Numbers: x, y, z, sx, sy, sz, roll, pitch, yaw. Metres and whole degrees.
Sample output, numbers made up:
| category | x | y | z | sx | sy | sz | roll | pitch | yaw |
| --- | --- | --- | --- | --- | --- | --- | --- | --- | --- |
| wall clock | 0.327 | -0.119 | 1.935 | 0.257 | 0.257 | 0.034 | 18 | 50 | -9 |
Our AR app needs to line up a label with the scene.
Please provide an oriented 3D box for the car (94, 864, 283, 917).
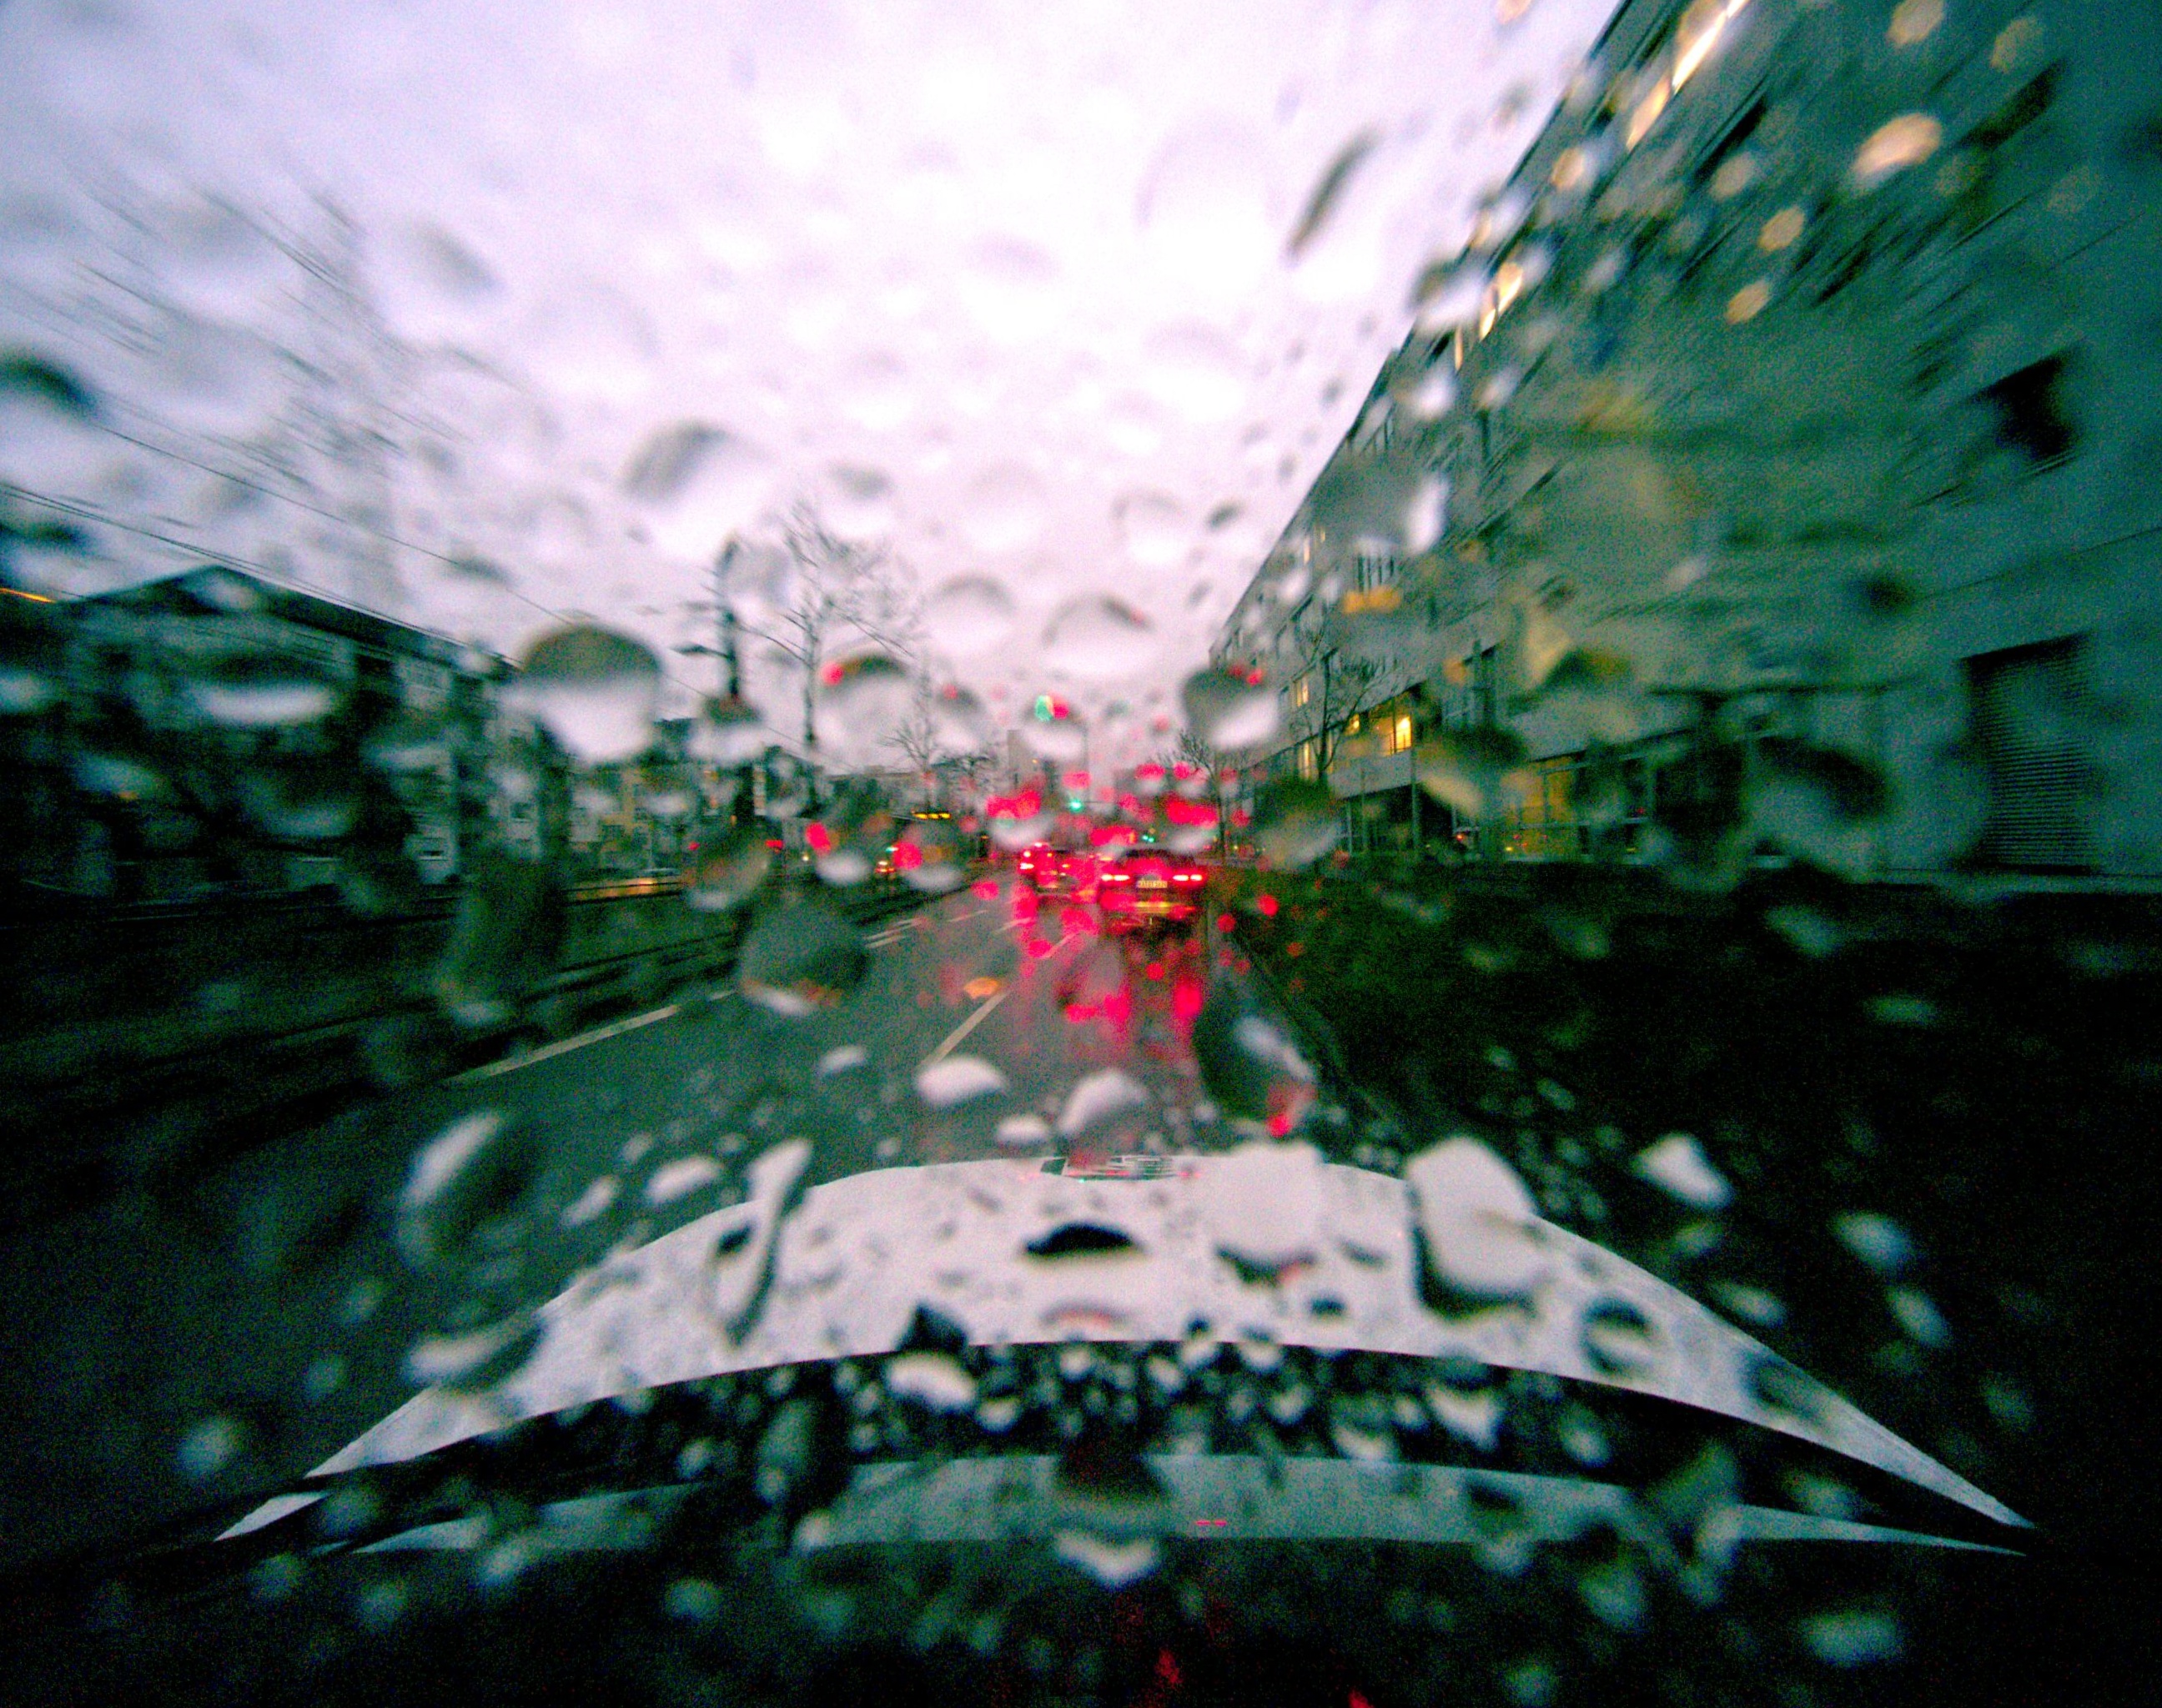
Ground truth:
| category | x | y | z | sx | sy | sz | roll | pitch | yaw |
| --- | --- | --- | --- | --- | --- | --- | --- | --- | --- |
| car | -29.994 | 1.158 | 27.587 | 1.718 | 1.645 | 4.152 | -1 | -1 | 2 |

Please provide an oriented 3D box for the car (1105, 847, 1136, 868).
| category | x | y | z | sx | sy | sz | roll | pitch | yaw |
| --- | --- | --- | --- | --- | --- | --- | --- | --- | --- |
| car | 2.653 | 0.199 | 55.292 | 1.881 | 1.353 | 4.101 | -1 | 1 | 0 |

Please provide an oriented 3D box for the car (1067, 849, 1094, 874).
| category | x | y | z | sx | sy | sz | roll | pitch | yaw |
| --- | --- | --- | --- | --- | --- | --- | --- | --- | --- |
| car | -0.027 | 0.612 | 66.131 | 1.985 | 2.014 | 4.002 | -1 | -1 | 2 |

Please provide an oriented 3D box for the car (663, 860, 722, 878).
| category | x | y | z | sx | sy | sz | roll | pitch | yaw |
| --- | --- | --- | --- | --- | --- | --- | --- | --- | --- |
| car | -30.595 | 1.198 | 64.249 | 3.792 | 1.366 | 1.695 | -1 | -1 | -5 |

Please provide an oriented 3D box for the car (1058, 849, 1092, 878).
| category | x | y | z | sx | sy | sz | roll | pitch | yaw |
| --- | --- | --- | --- | --- | --- | --- | --- | --- | --- |
| car | -0.336 | 0.569 | 48.731 | 1.987 | 1.642 | 4.021 | -1 | -1 | 0 |

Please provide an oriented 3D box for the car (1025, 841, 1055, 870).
| category | x | y | z | sx | sy | sz | roll | pitch | yaw |
| --- | --- | --- | --- | --- | --- | --- | --- | --- | --- |
| car | -3.019 | 0.069 | 60.614 | 1.946 | 2.033 | 4.883 | -1 | 0 | 0 |

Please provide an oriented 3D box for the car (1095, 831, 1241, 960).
| category | x | y | z | sx | sy | sz | roll | pitch | yaw |
| --- | --- | --- | --- | --- | --- | --- | --- | --- | --- |
| car | 1.381 | 0.660 | 14.667 | 1.989 | 1.976 | 4.063 | -1 | -1 | -3 |

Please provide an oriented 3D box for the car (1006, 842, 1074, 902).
| category | x | y | z | sx | sy | sz | roll | pitch | yaw |
| --- | --- | --- | --- | --- | --- | --- | --- | --- | --- |
| car | -1.260 | 0.556 | 26.095 | 1.988 | 1.712 | 4.321 | -1 | -1 | -2 |

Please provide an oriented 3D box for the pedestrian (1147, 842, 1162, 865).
| category | x | y | z | sx | sy | sz | roll | pitch | yaw |
| --- | --- | --- | --- | --- | --- | --- | --- | --- | --- |
| pedestrian | 6.075 | -0.042 | 67.373 | 0.788 | 1.750 | 0.867 | -6 | 0 | 27 |

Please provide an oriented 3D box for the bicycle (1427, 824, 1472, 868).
| category | x | y | z | sx | sy | sz | roll | pitch | yaw |
| --- | --- | --- | --- | --- | --- | --- | --- | --- | --- |
| bicycle | 11.775 | -0.264 | 26.092 | 0.816 | 1.273 | 2.468 | -6 | 0 | 16 |

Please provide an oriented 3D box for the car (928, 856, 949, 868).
| category | x | y | z | sx | sy | sz | roll | pitch | yaw |
| --- | --- | --- | --- | --- | --- | --- | --- | --- | --- |
| car | -18.044 | 1.019 | 103.112 | 1.752 | 1.497 | 3.762 | -1 | -1 | 3 |
